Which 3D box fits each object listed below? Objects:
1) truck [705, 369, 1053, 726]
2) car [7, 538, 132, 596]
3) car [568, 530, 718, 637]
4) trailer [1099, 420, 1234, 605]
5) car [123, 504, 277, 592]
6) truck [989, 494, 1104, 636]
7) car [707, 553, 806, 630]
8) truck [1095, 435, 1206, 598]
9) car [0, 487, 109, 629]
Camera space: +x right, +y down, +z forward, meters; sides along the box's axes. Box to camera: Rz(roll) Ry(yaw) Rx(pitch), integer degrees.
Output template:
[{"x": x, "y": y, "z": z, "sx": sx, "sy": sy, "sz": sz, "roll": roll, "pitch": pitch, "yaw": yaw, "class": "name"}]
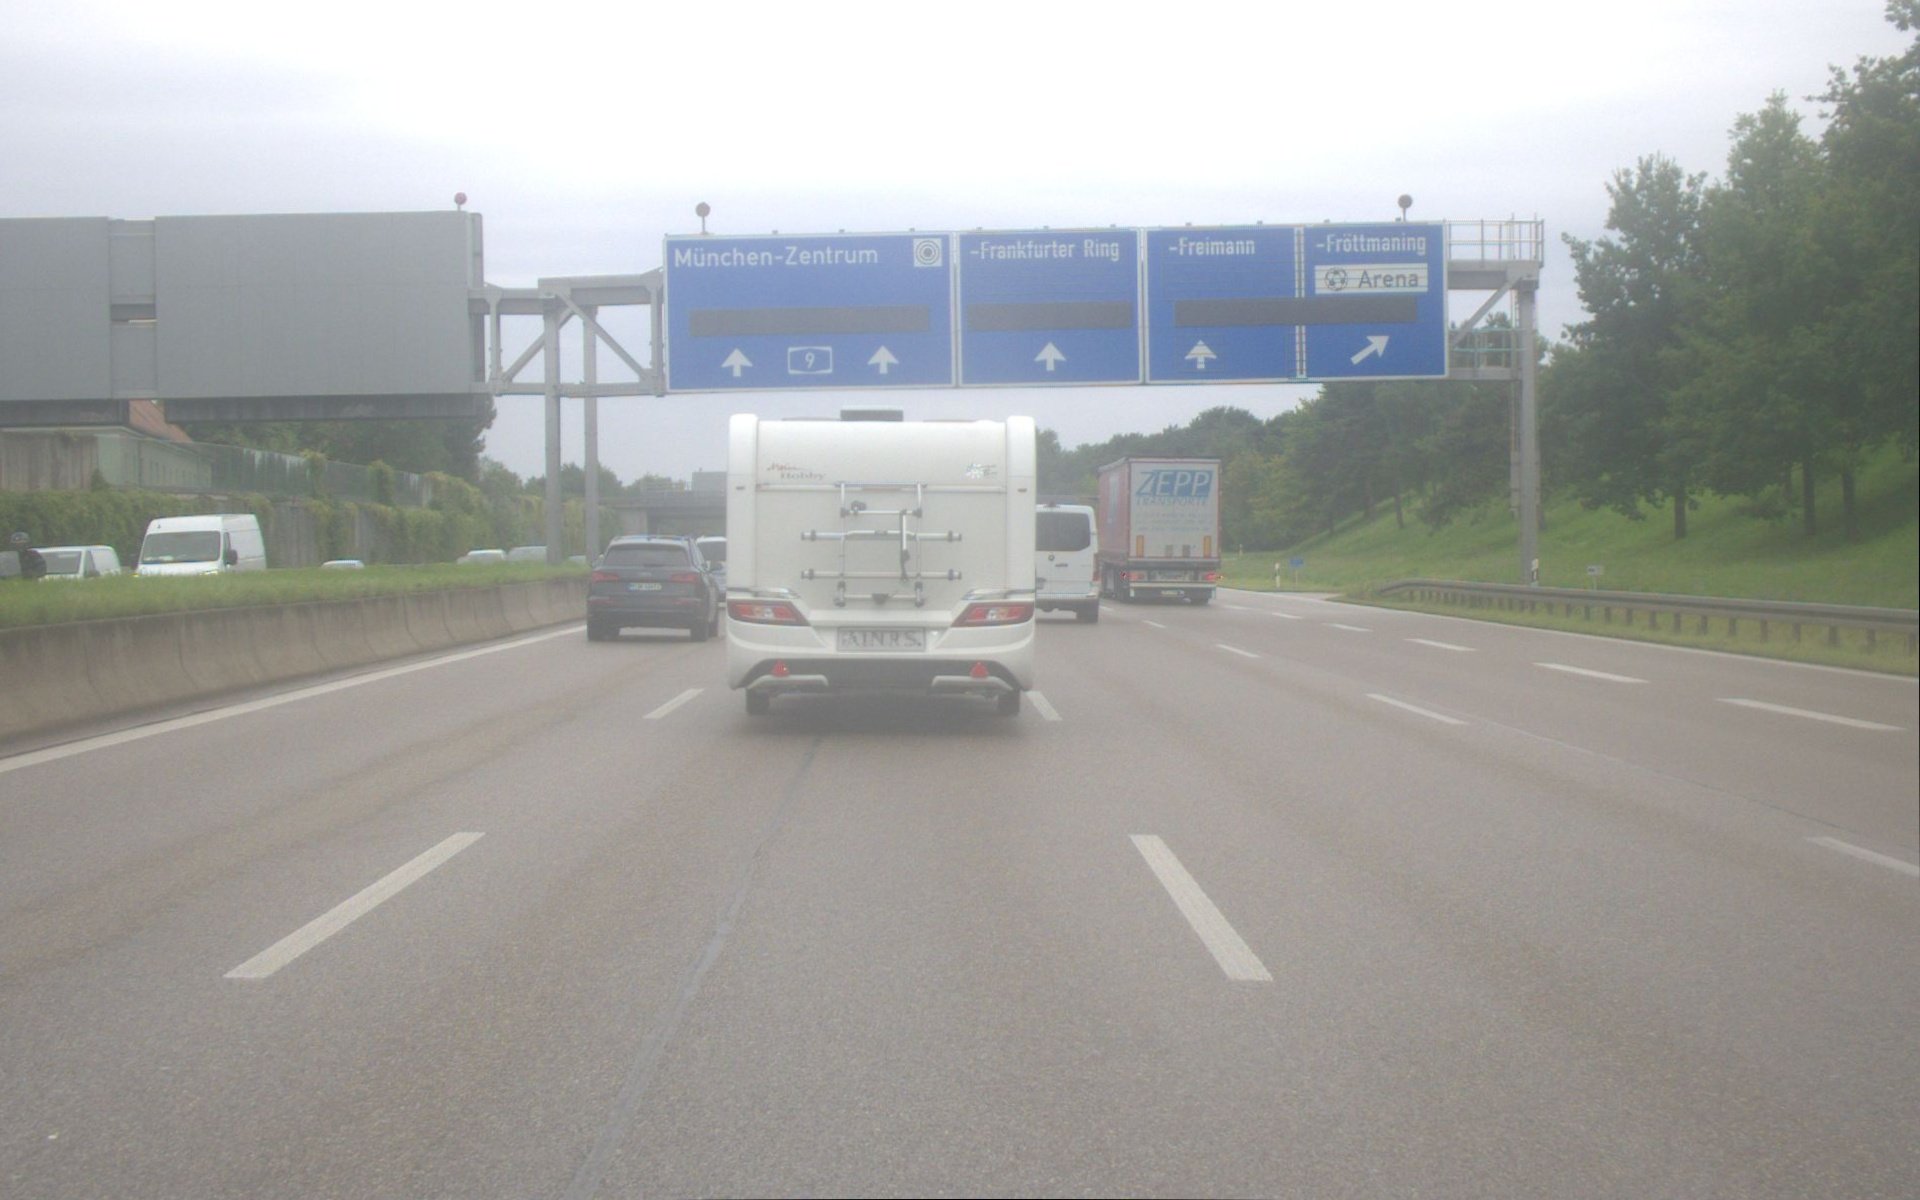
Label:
[{"x": -0.688, "y": -0.437, "z": 29.319, "sx": 2.661, "sy": 2.733, "sz": 5.078, "roll": 1, "pitch": 1, "yaw": -1, "class": "truck"}, {"x": -21.251, "y": -0.804, "z": 82.203, "sx": 1.879, "sy": 1.339, "sz": 4.528, "roll": 1, "pitch": 1, "yaw": -1, "class": "car"}, {"x": -5.006, "y": -0.284, "z": 54.860, "sx": 1.993, "sy": 1.594, "sz": 5.124, "roll": 1, "pitch": 1, "yaw": -1, "class": "car"}, {"x": 5.786, "y": -2.421, "z": 98.203, "sx": 3.100, "sy": 4.905, "sz": 11.790, "roll": 1, "pitch": 1, "yaw": 0, "class": "trailer"}, {"x": -17.568, "y": -1.188, "z": 79.788, "sx": 2.127, "sy": 1.905, "sz": 6.534, "roll": 1, "pitch": 1, "yaw": 0, "class": "car"}, {"x": 1.738, "y": -0.724, "z": 70.747, "sx": 2.053, "sy": 2.760, "sz": 5.549, "roll": 1, "pitch": 1, "yaw": -1, "class": "truck"}, {"x": -4.805, "y": -0.223, "z": 81.625, "sx": 2.128, "sy": 1.700, "sz": 4.113, "roll": 2, "pitch": 0, "yaw": -1, "class": "car"}, {"x": 5.816, "y": -2.533, "z": 105.898, "sx": 3.048, "sy": 4.822, "sz": 5.850, "roll": 1, "pitch": 1, "yaw": 0, "class": "truck"}, {"x": -13.952, "y": -0.633, "z": 50.764, "sx": 1.768, "sy": 2.007, "sz": 4.000, "roll": 1, "pitch": 1, "yaw": 0, "class": "car"}]
